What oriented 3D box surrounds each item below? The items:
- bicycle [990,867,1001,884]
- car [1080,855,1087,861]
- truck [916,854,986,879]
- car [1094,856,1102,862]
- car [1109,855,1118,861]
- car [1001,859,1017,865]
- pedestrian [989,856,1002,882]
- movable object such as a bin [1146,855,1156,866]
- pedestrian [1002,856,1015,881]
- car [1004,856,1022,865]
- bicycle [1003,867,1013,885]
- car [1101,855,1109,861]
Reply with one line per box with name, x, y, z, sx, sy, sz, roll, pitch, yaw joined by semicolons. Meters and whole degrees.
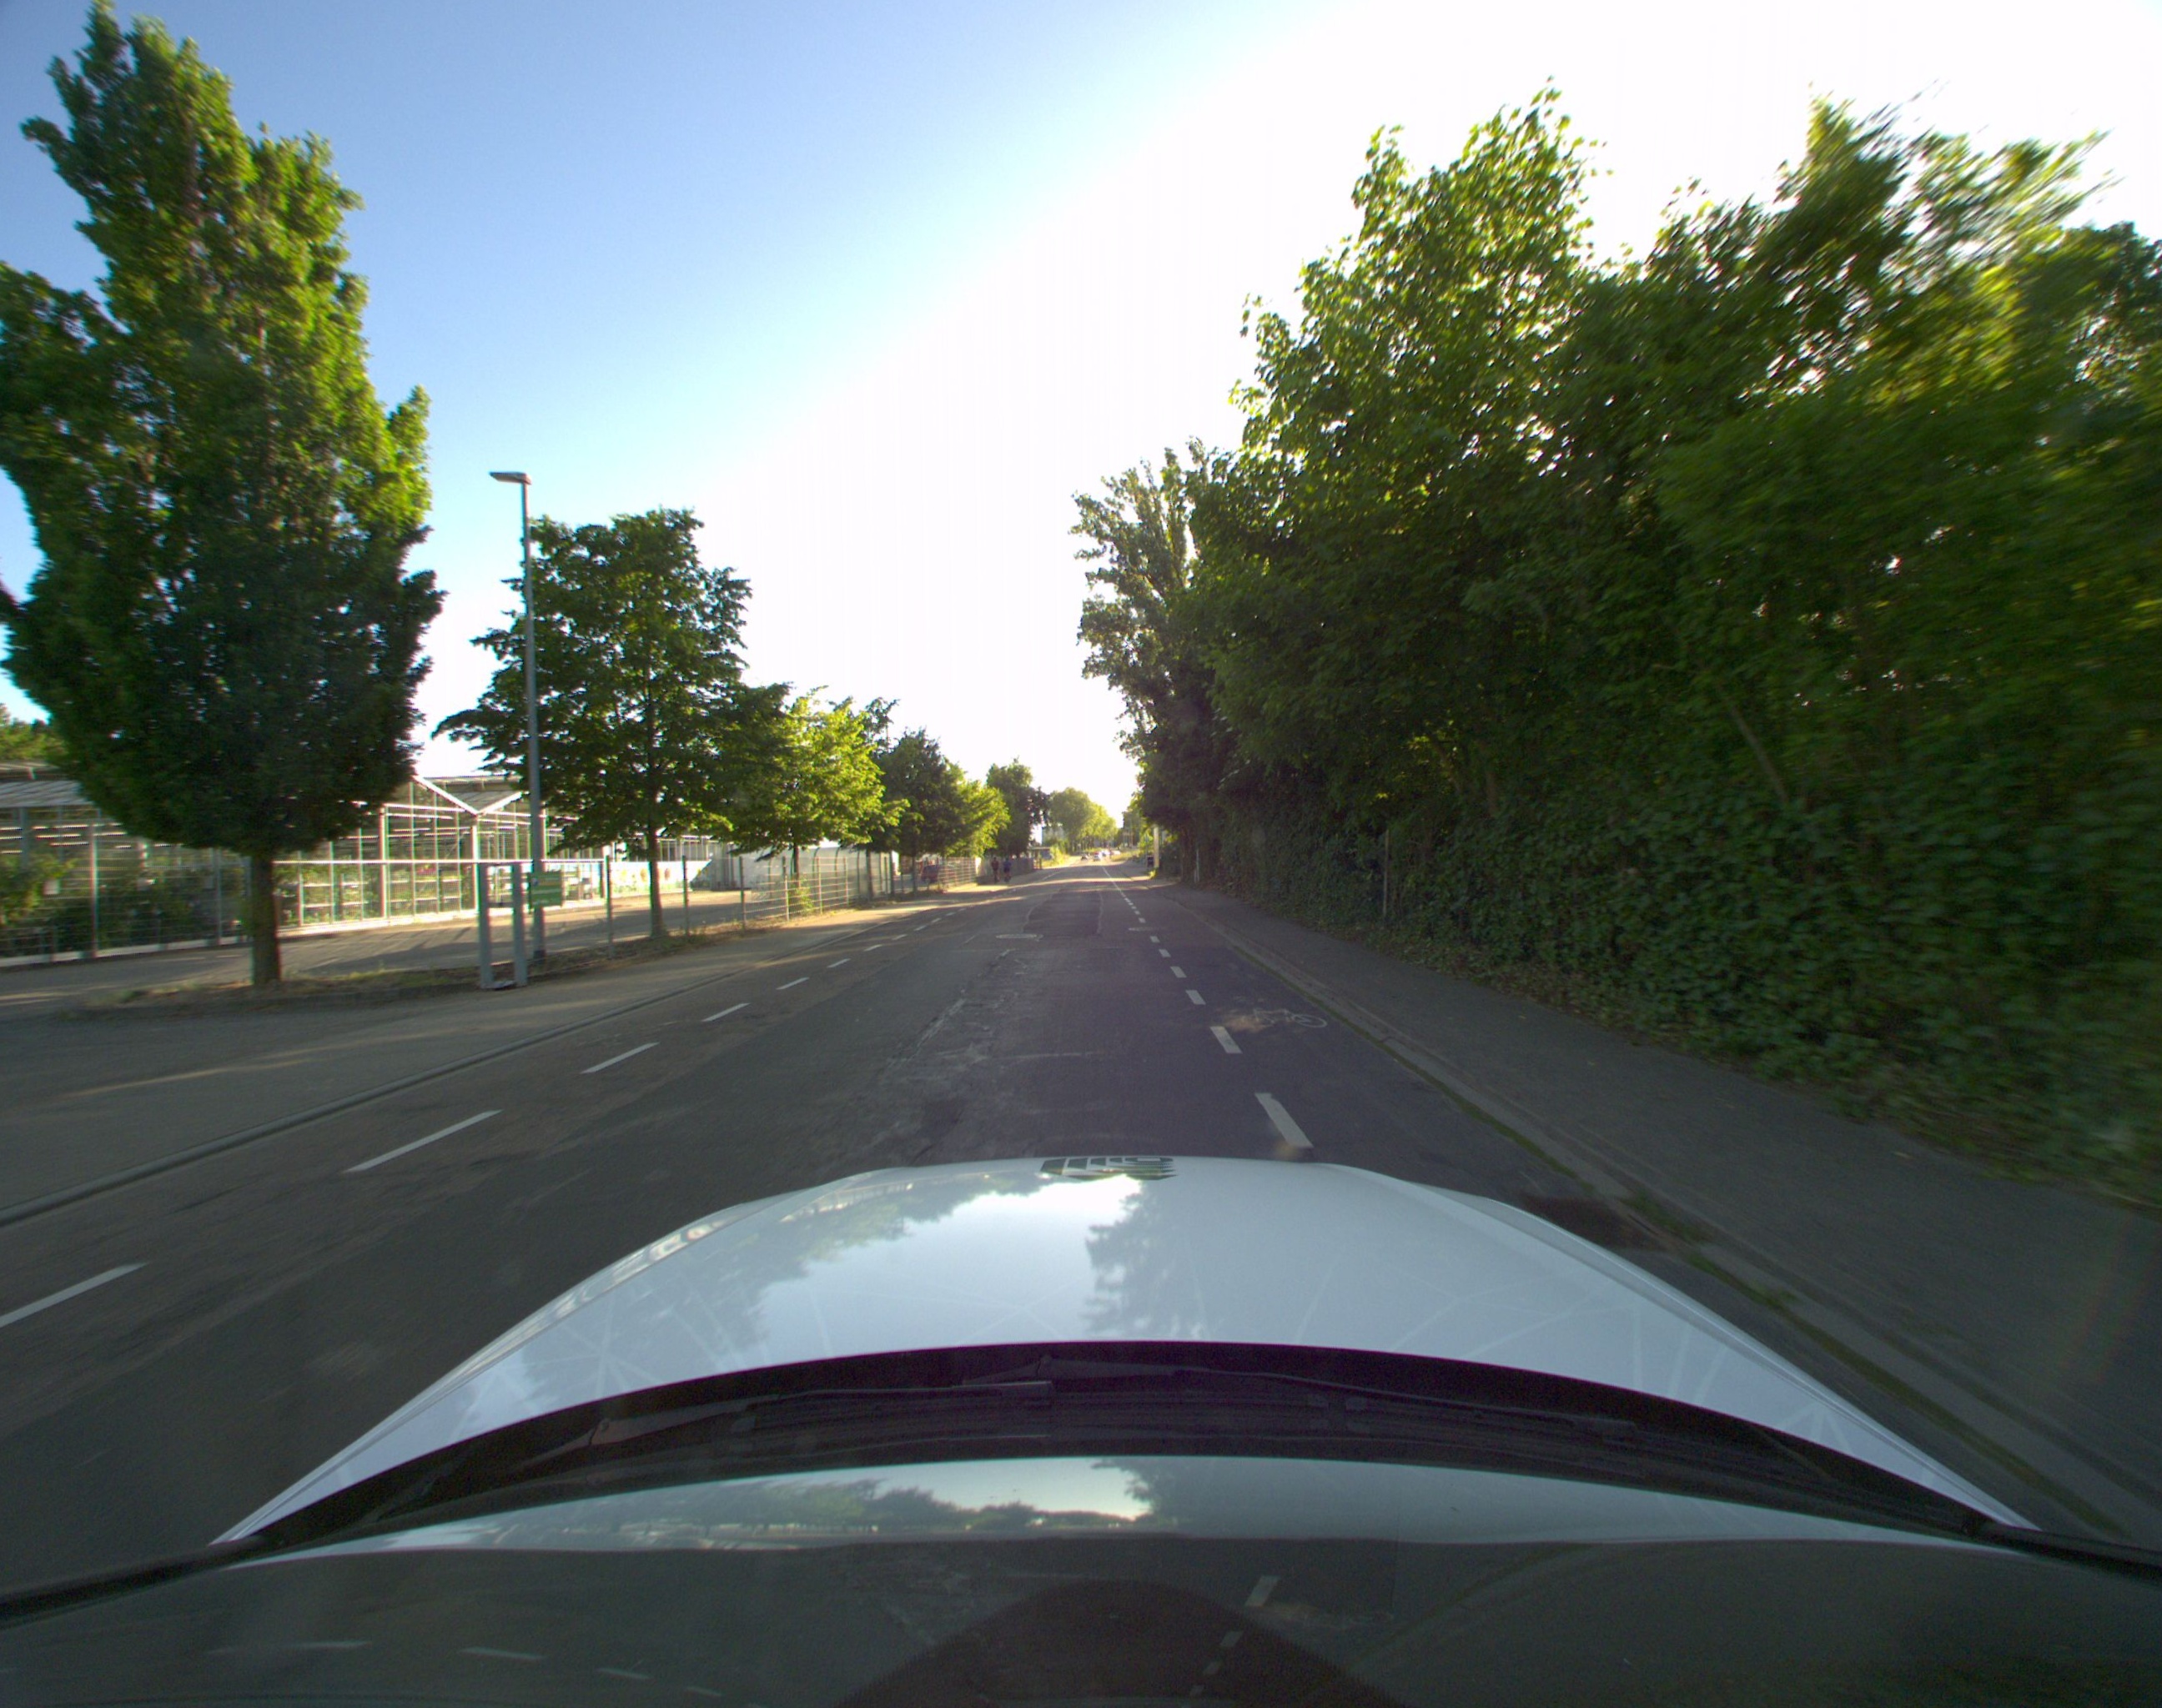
bicycle;-5.950;1.501;56.716;0.468;1.148;1.869;0;-1;1
car;0.616;1.019;215.480;1.735;1.526;4.111;-5;0;0
truck;-19.778;1.875;124.217;10.066;3.615;2.775;-1;-1;-1
car;4.035;1.243;191.730;1.782;1.420;4.003;-1;0;3
car;9.877;1.220;249.156;2.159;1.684;3.995;-2;0;-3
car;-20.566;2.190;232.332;4.308;1.618;1.878;-2;0;0
pedestrian;-5.962;1.040;56.783;0.718;1.721;1.057;-2;-1;1
movable object such as a bin;8.835;0.867;103.026;1.125;1.372;1.345;-2;0;0
pedestrian;-5.041;1.009;56.643;0.718;1.721;1.057;-2;-1;1
car;-20.034;1.778;239.910;4.910;2.460;2.319;-2;0;0
bicycle;-5.049;1.514;56.585;0.444;1.148;2.201;0;-1;1
car;7.129;1.291;243.794;2.156;1.684;4.001;-2;0;1
